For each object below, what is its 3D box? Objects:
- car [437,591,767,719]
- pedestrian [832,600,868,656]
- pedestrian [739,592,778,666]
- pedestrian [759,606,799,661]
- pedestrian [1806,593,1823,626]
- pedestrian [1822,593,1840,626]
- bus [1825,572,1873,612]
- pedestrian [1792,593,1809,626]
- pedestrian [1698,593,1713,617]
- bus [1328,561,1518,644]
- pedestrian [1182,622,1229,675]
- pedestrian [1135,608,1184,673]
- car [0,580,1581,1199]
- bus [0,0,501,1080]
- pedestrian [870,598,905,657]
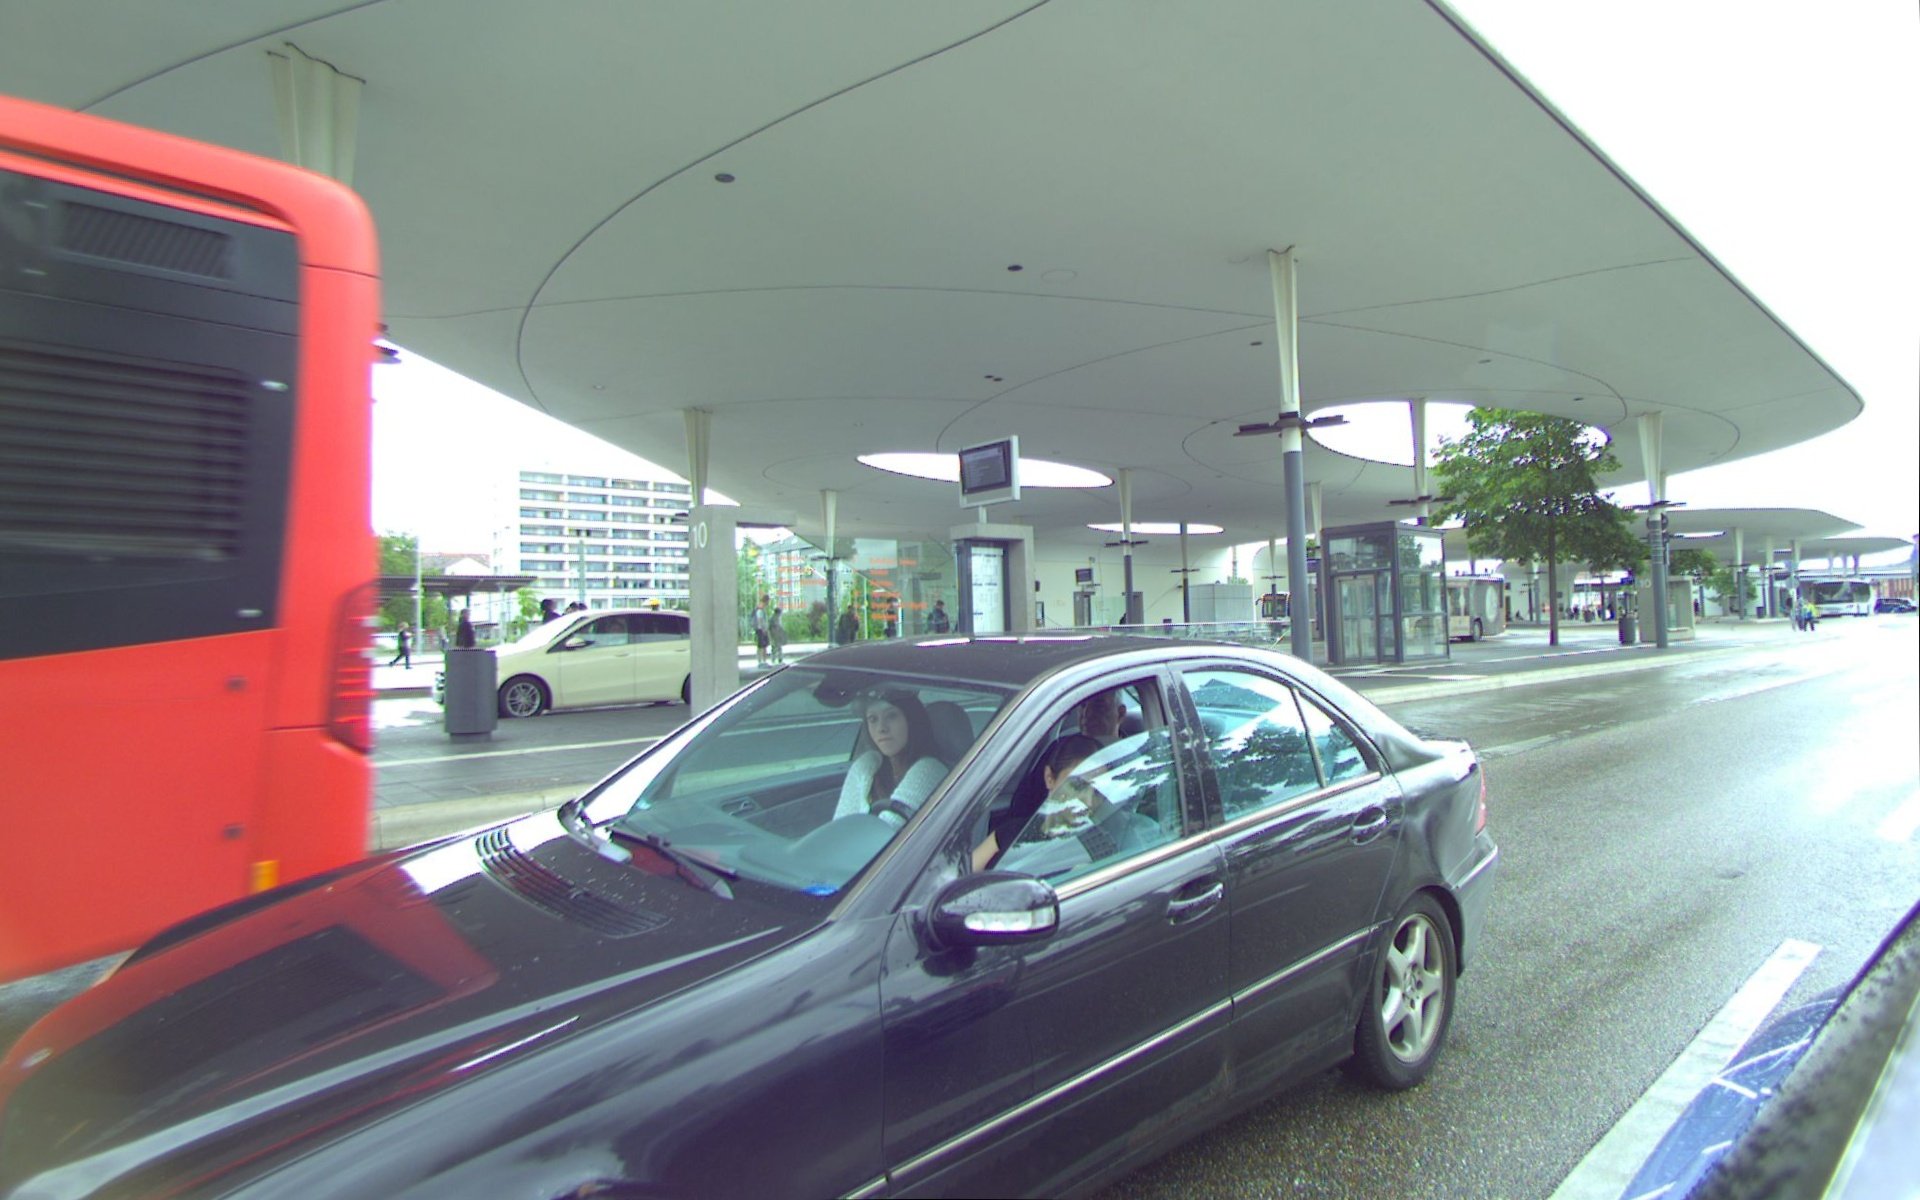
[{"bbox_3d":[-5.304,0.753,15.322,4.356,1.671,1.803,0,-3,-41],"label":"car"},{"bbox_3d":[-3.285,0.832,30.254,0.646,1.654,0.854,-1,-1,43],"label":"pedestrian"},{"bbox_3d":[-4.808,0.678,24.175,0.680,1.728,0.658,0,-1,-40],"label":"pedestrian"},{"bbox_3d":[-5.063,0.912,28.239,0.732,1.497,0.825,-1,-1,43],"label":"pedestrian"},{"bbox_3d":[42.587,0.461,50.432,0.543,1.645,0.556,0,-1,-41],"label":"pedestrian"},{"bbox_3d":[42.968,0.461,49.915,0.543,1.645,0.556,0,-1,-41],"label":"pedestrian"},{"bbox_3d":[75.372,-0.666,85.715,2.666,3.169,9.565,-1,-1,43],"label":"bus"},{"bbox_3d":[42.180,0.462,50.790,0.577,1.645,0.576,0,-1,-41],"label":"pedestrian"},{"bbox_3d":[52.406,0.340,71.133,0.740,1.651,0.723,0,-1,-41],"label":"pedestrian"},{"bbox_3d":[20.351,0.087,43.882,12.144,3.146,2.999,0,-1,-42],"label":"bus"},{"bbox_3d":[4.728,0.923,19.489,0.626,0.974,0.622,0,-1,-41],"label":"pedestrian"},{"bbox_3d":[3.972,0.791,20.136,0.657,1.268,0.692,0,-1,-41],"label":"pedestrian"},{"bbox_3d":[0.014,0.807,3.004,4.358,1.499,1.748,-2,-3,-40],"label":"car"},{"bbox_3d":[-5.620,-0.184,2.232,7.984,3.214,2.745,0,0,-43],"label":"bus"},{"bbox_3d":[-1.937,0.727,27.073,0.680,1.564,0.658,0,-1,-40],"label":"pedestrian"}]
